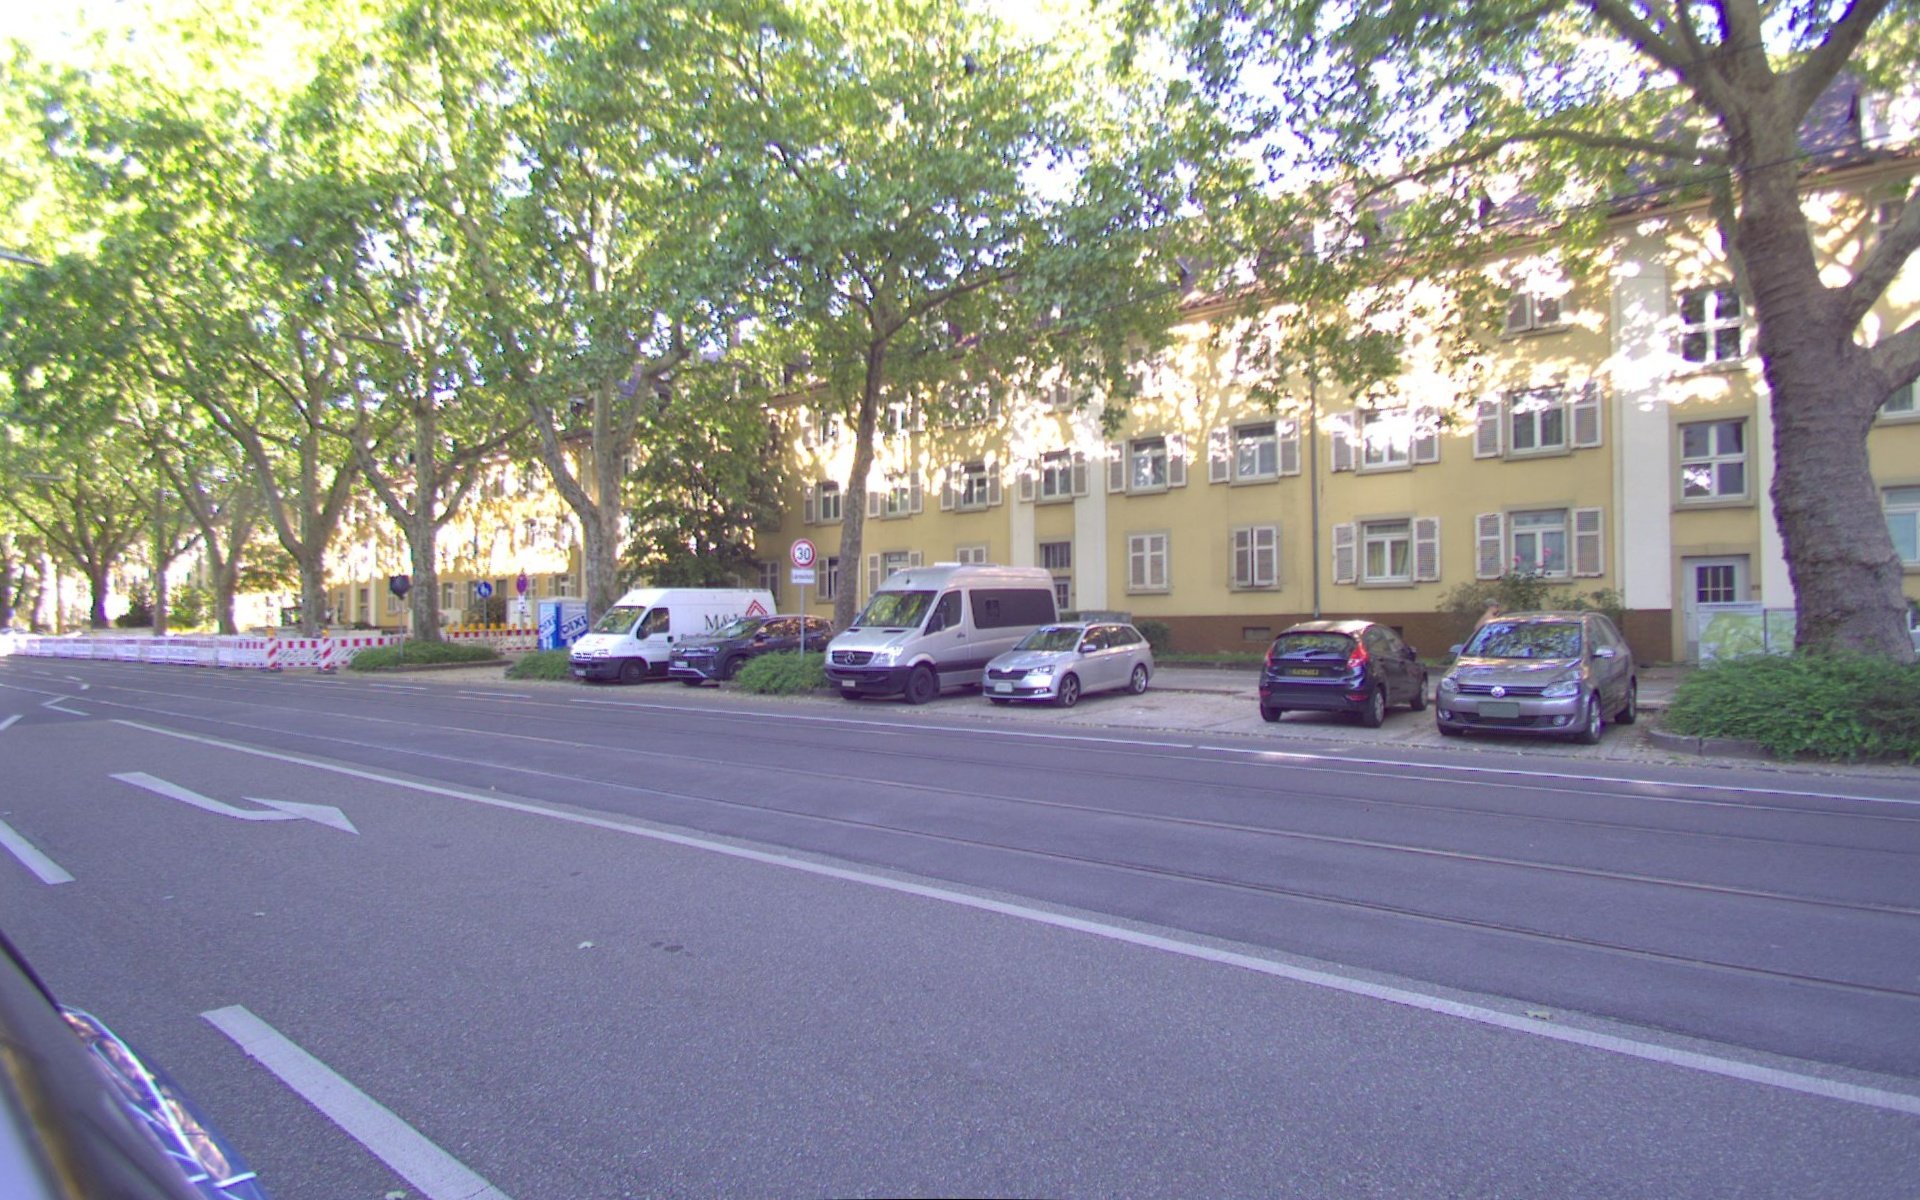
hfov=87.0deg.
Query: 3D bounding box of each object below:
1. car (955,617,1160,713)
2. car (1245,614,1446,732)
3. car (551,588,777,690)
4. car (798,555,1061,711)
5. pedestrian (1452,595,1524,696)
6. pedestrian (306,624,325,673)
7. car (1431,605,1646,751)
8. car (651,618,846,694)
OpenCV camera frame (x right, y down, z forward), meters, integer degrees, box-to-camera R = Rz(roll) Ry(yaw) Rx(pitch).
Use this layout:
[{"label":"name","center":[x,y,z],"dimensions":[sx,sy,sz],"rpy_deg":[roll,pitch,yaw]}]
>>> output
[{"label":"car","center":[1.909,1.127,18.837],"dimensions":[1.773,1.509,4.031],"rpy_deg":[-2,-1,41]},{"label":"car","center":[5.962,1.007,15.419],"dimensions":[1.671,1.509,3.756],"rpy_deg":[-2,-1,41]},{"label":"car","center":[-7.564,0.972,26.376],"dimensions":[2.222,2.394,5.336],"rpy_deg":[-2,-2,40]},{"label":"car","center":[-0.430,0.615,20.449],"dimensions":[2.221,2.702,5.596],"rpy_deg":[-2,-1,38]},{"label":"pedestrian","center":[9.065,0.755,17.367],"dimensions":[0.954,1.673,0.764],"rpy_deg":[-1,0,39]},{"label":"pedestrian","center":[-23.607,1.770,37.076],"dimensions":[0.573,1.759,0.654],"rpy_deg":[-1,0,-32]},{"label":"car","center":[7.740,0.904,13.368],"dimensions":[1.672,1.592,3.928],"rpy_deg":[-2,-1,42]},{"label":"car","center":[-4.981,1.283,24.450],"dimensions":[1.772,1.664,4.570],"rpy_deg":[-2,-2,38]}]
